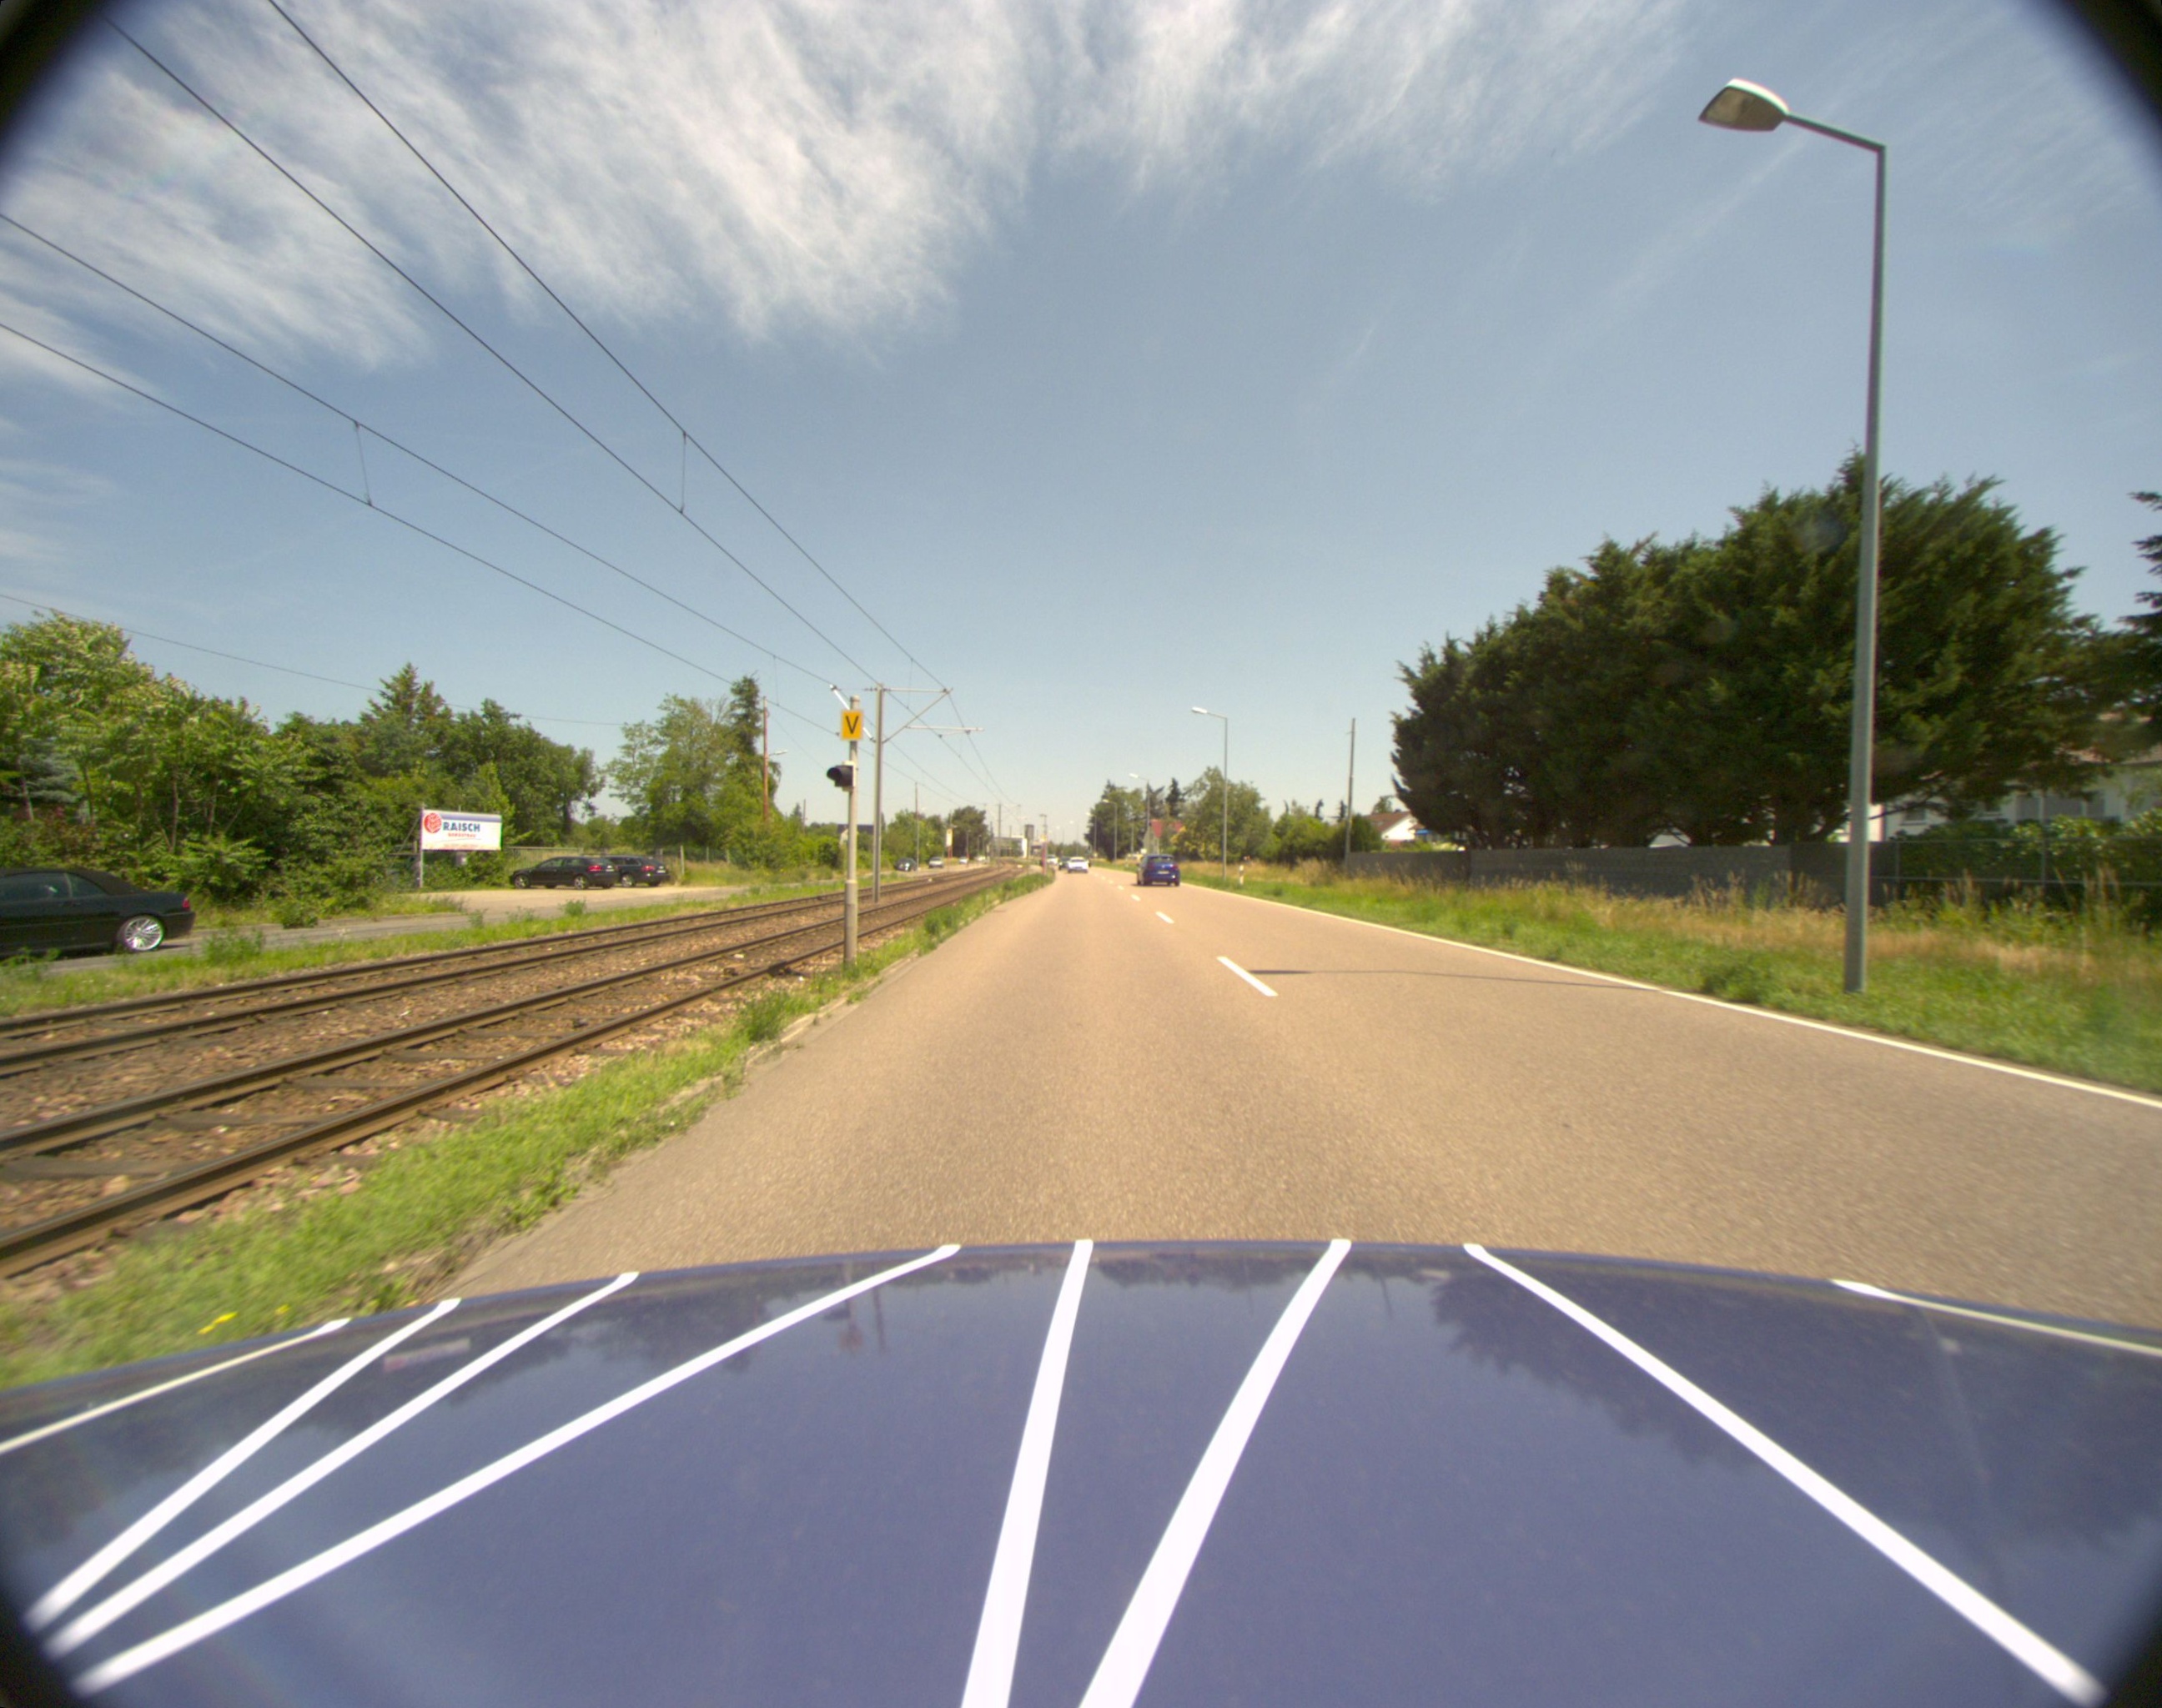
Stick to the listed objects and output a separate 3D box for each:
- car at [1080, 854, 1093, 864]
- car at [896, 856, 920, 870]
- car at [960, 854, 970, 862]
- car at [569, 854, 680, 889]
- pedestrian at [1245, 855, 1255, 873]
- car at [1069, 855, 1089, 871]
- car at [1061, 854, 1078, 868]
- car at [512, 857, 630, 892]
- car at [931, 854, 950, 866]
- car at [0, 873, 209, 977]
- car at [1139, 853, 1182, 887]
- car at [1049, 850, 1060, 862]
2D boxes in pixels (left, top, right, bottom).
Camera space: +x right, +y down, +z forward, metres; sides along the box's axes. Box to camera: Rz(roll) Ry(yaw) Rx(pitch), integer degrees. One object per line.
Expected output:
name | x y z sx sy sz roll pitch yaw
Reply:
car | 0.794 0.721 111.928 1.711 1.396 4.706 0 0 -1
car | -18.271 0.939 80.401 1.624 1.414 4.871 0 0 -3
car | -23.577 0.805 154.585 1.718 1.480 3.999 0 0 -5
car | -20.926 0.786 34.897 3.995 1.509 1.899 0 1 5
pedestrian | 13.579 0.802 61.063 0.610 1.469 0.633 0 1 -1
car | -0.218 0.854 71.320 1.856 1.447 3.705 0 0 -1
car | -1.331 0.787 88.055 1.999 1.576 3.999 0 0 -1
car | -21.617 0.832 32.332 3.737 1.411 1.899 0 0 0
car | -18.289 0.787 99.006 1.945 1.414 3.998 0 0 -4
car | -15.483 0.991 10.445 1.866 1.322 4.514 0 0 -2
car | 3.995 0.756 38.515 1.751 1.622 4.029 0 0 0
car | -4.832 0.369 136.098 1.938 2.002 3.999 0 0 -3
